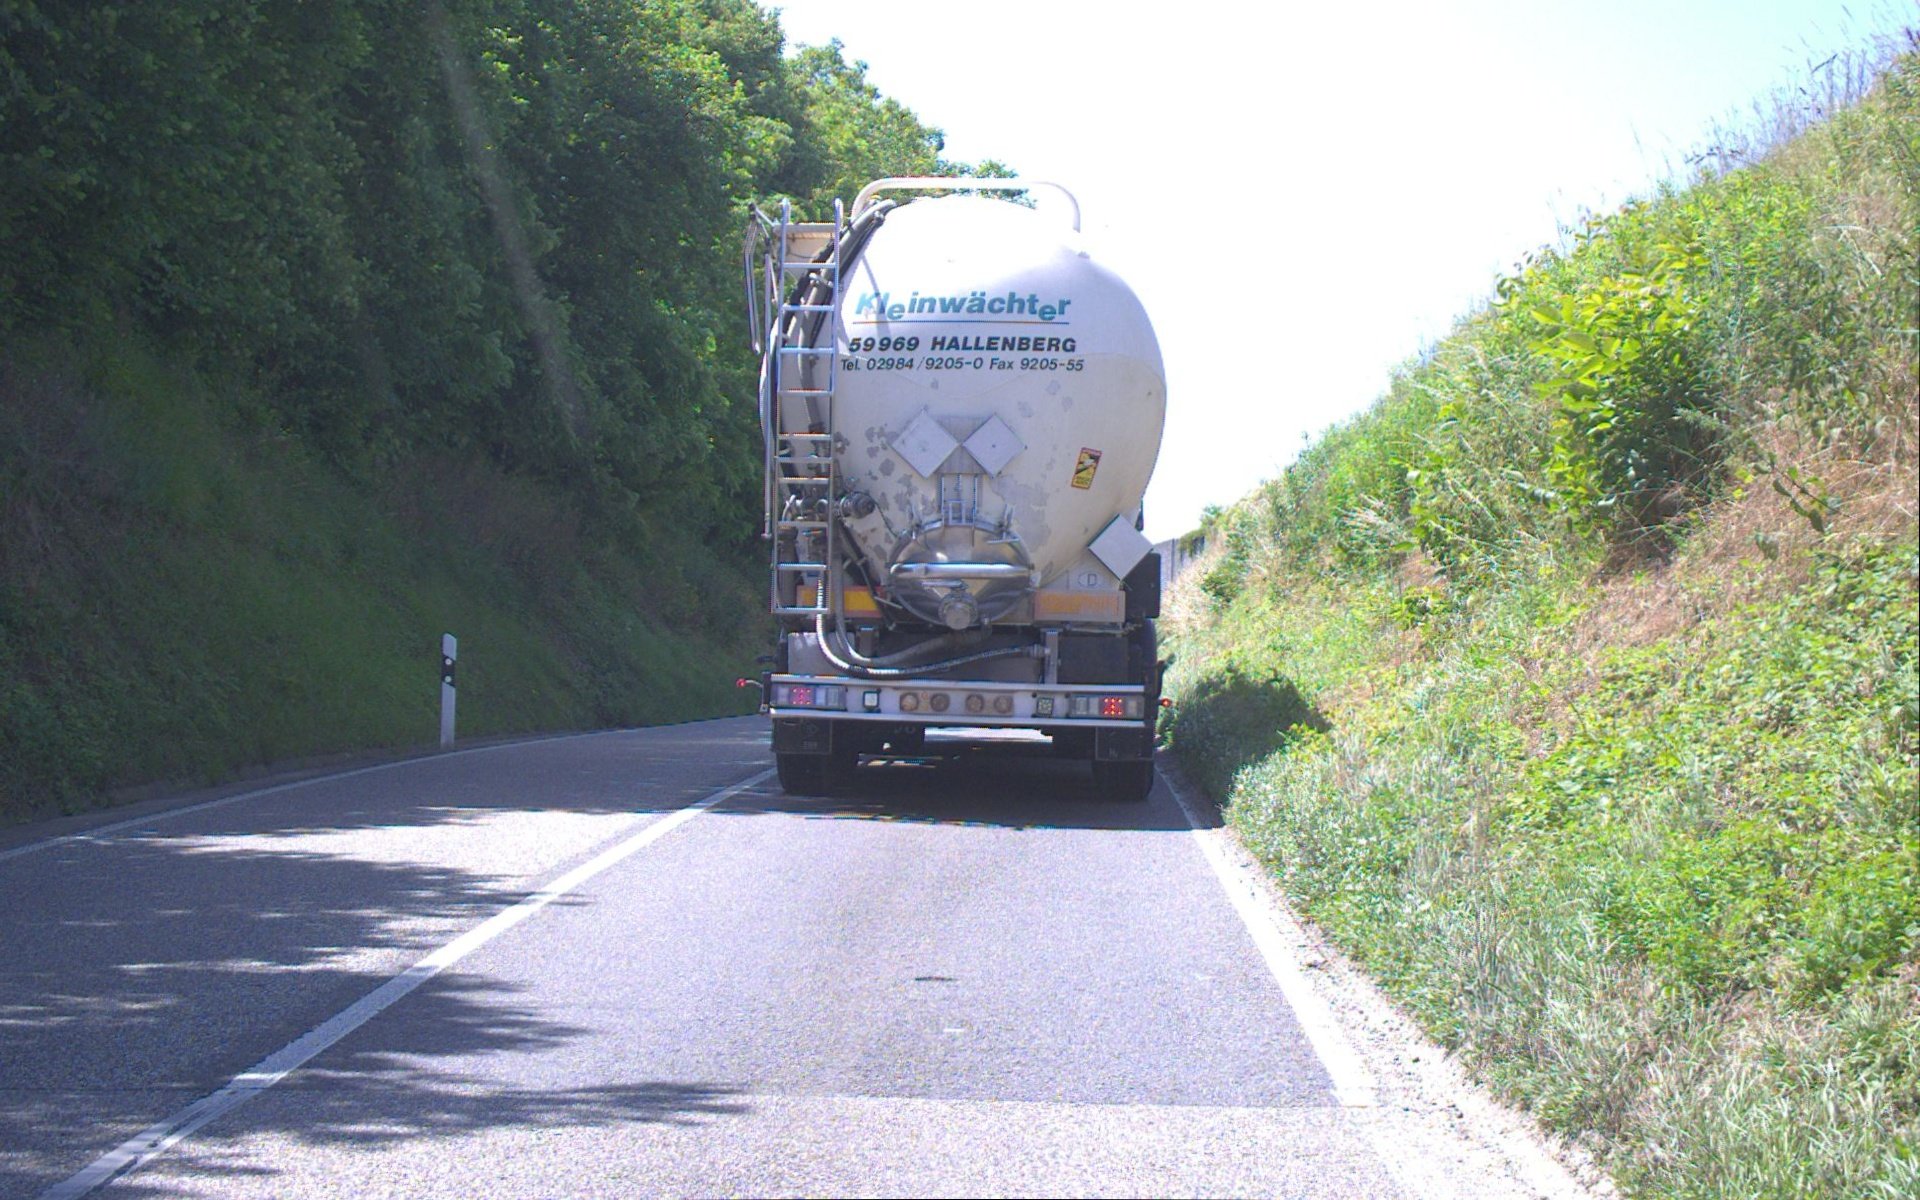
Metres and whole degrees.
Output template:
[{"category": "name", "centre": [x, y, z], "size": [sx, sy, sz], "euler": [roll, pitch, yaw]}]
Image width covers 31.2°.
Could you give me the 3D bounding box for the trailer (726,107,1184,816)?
[{"category": "trailer", "centre": [0.013, -0.821, 26.387], "size": [2.661, 4.174, 11.904], "euler": [1, 0, 0]}]

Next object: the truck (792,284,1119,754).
[{"category": "truck", "centre": [0.091, -0.659, 32.340], "size": [2.727, 3.916, 7.262], "euler": [0, 0, 2]}]

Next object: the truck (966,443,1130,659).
[{"category": "truck", "centre": [1.923, -1.042, 76.459], "size": [3.190, 4.295, 11.799], "euler": [3, 0, 1]}]
